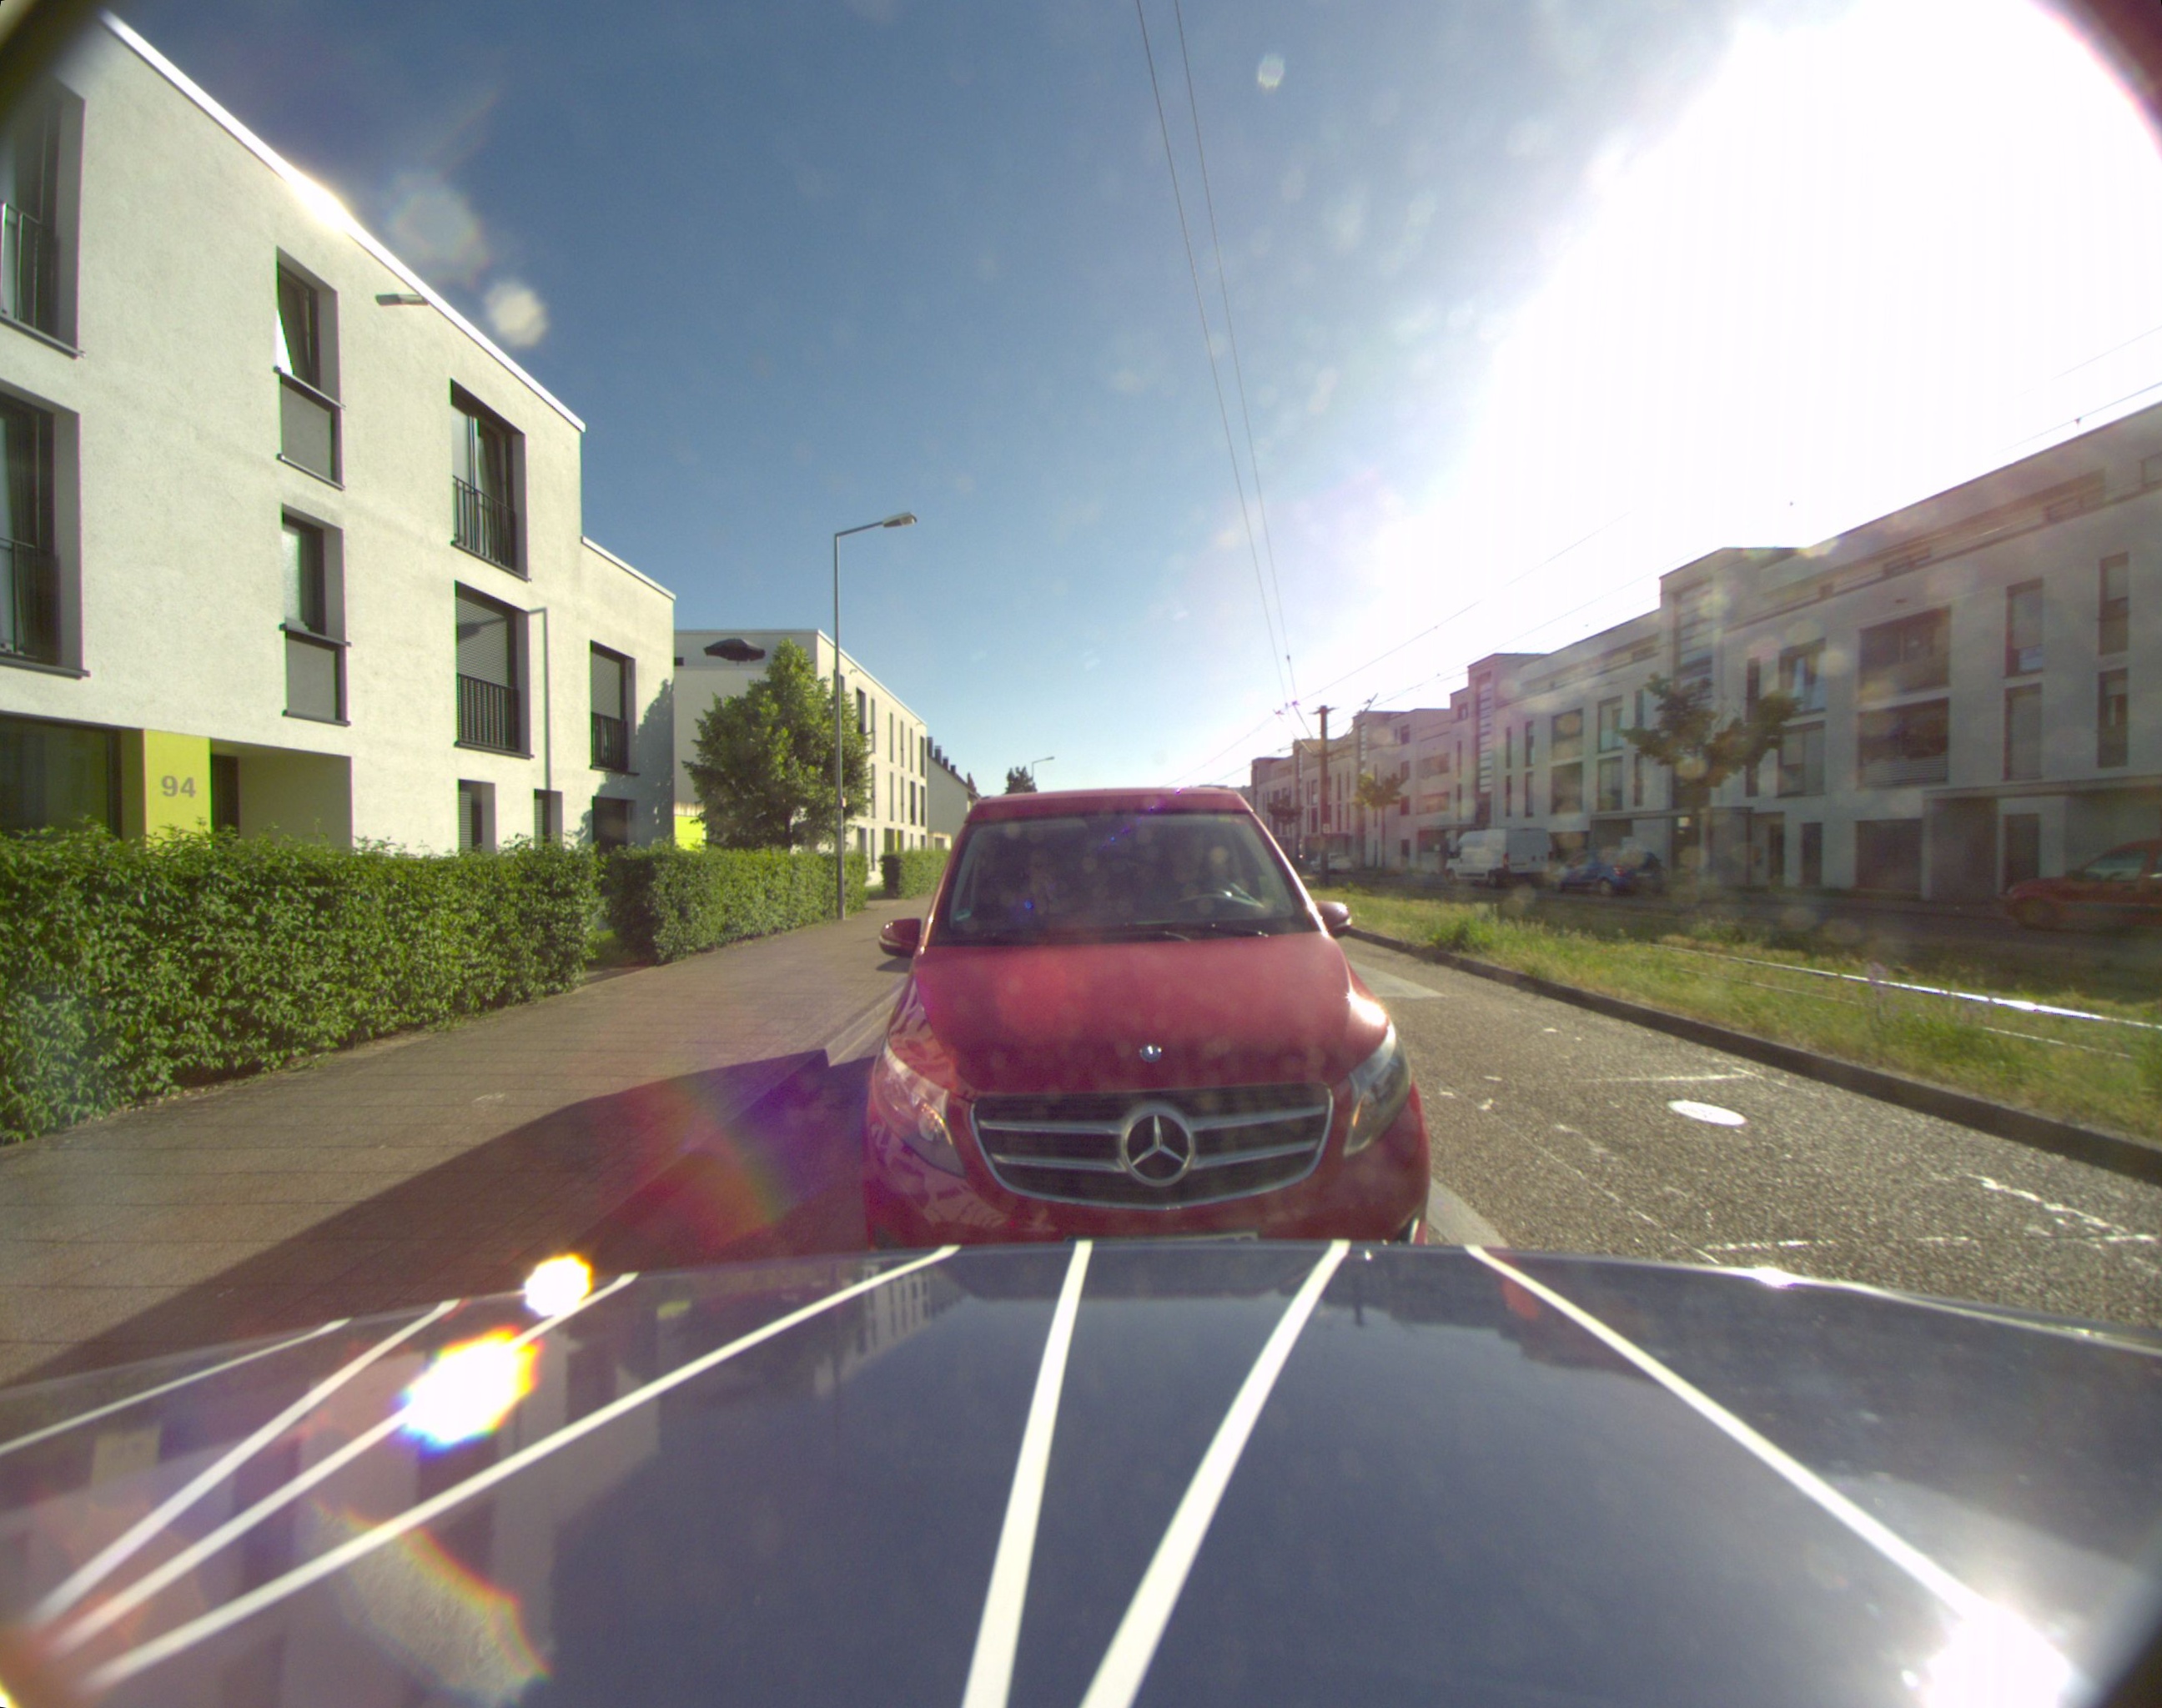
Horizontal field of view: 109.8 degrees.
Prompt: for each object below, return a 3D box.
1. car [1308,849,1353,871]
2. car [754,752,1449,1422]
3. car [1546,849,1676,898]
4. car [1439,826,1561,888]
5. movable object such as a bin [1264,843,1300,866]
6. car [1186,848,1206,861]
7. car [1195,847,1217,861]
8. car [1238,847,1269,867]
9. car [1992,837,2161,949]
[{"bbox_3d":[17.581,0.399,53.730,1.521,1.424,4.155,-2,0,-4],"label":"car"},{"bbox_3d":[0.120,0.690,4.848,1.979,1.922,5.205,-2,0,1],"label":"car"},{"bbox_3d":[18.293,0.615,26.459,1.829,1.528,3.842,-2,0,0],"label":"car"},{"bbox_3d":[18.191,0.127,33.411,2.146,2.430,5.588,-2,0,-1],"label":"car"},{"bbox_3d":[17.625,0.033,66.776,1.766,1.926,4.155,-2,0,-4],"label":"movable object such as a bin"},{"bbox_3d":[15.040,0.021,99.589,1.766,1.590,4.155,-2,0,-4],"label":"car"},{"bbox_3d":[15.428,0.029,93.954,1.766,1.590,4.155,-2,0,-4],"label":"car"},{"bbox_3d":[16.798,0.243,74.272,1.766,1.859,4.155,-2,0,-4],"label":"car"},{"bbox_3d":[18.591,0.625,12.813,1.885,1.785,3.837,-2,0,1],"label":"car"}]
